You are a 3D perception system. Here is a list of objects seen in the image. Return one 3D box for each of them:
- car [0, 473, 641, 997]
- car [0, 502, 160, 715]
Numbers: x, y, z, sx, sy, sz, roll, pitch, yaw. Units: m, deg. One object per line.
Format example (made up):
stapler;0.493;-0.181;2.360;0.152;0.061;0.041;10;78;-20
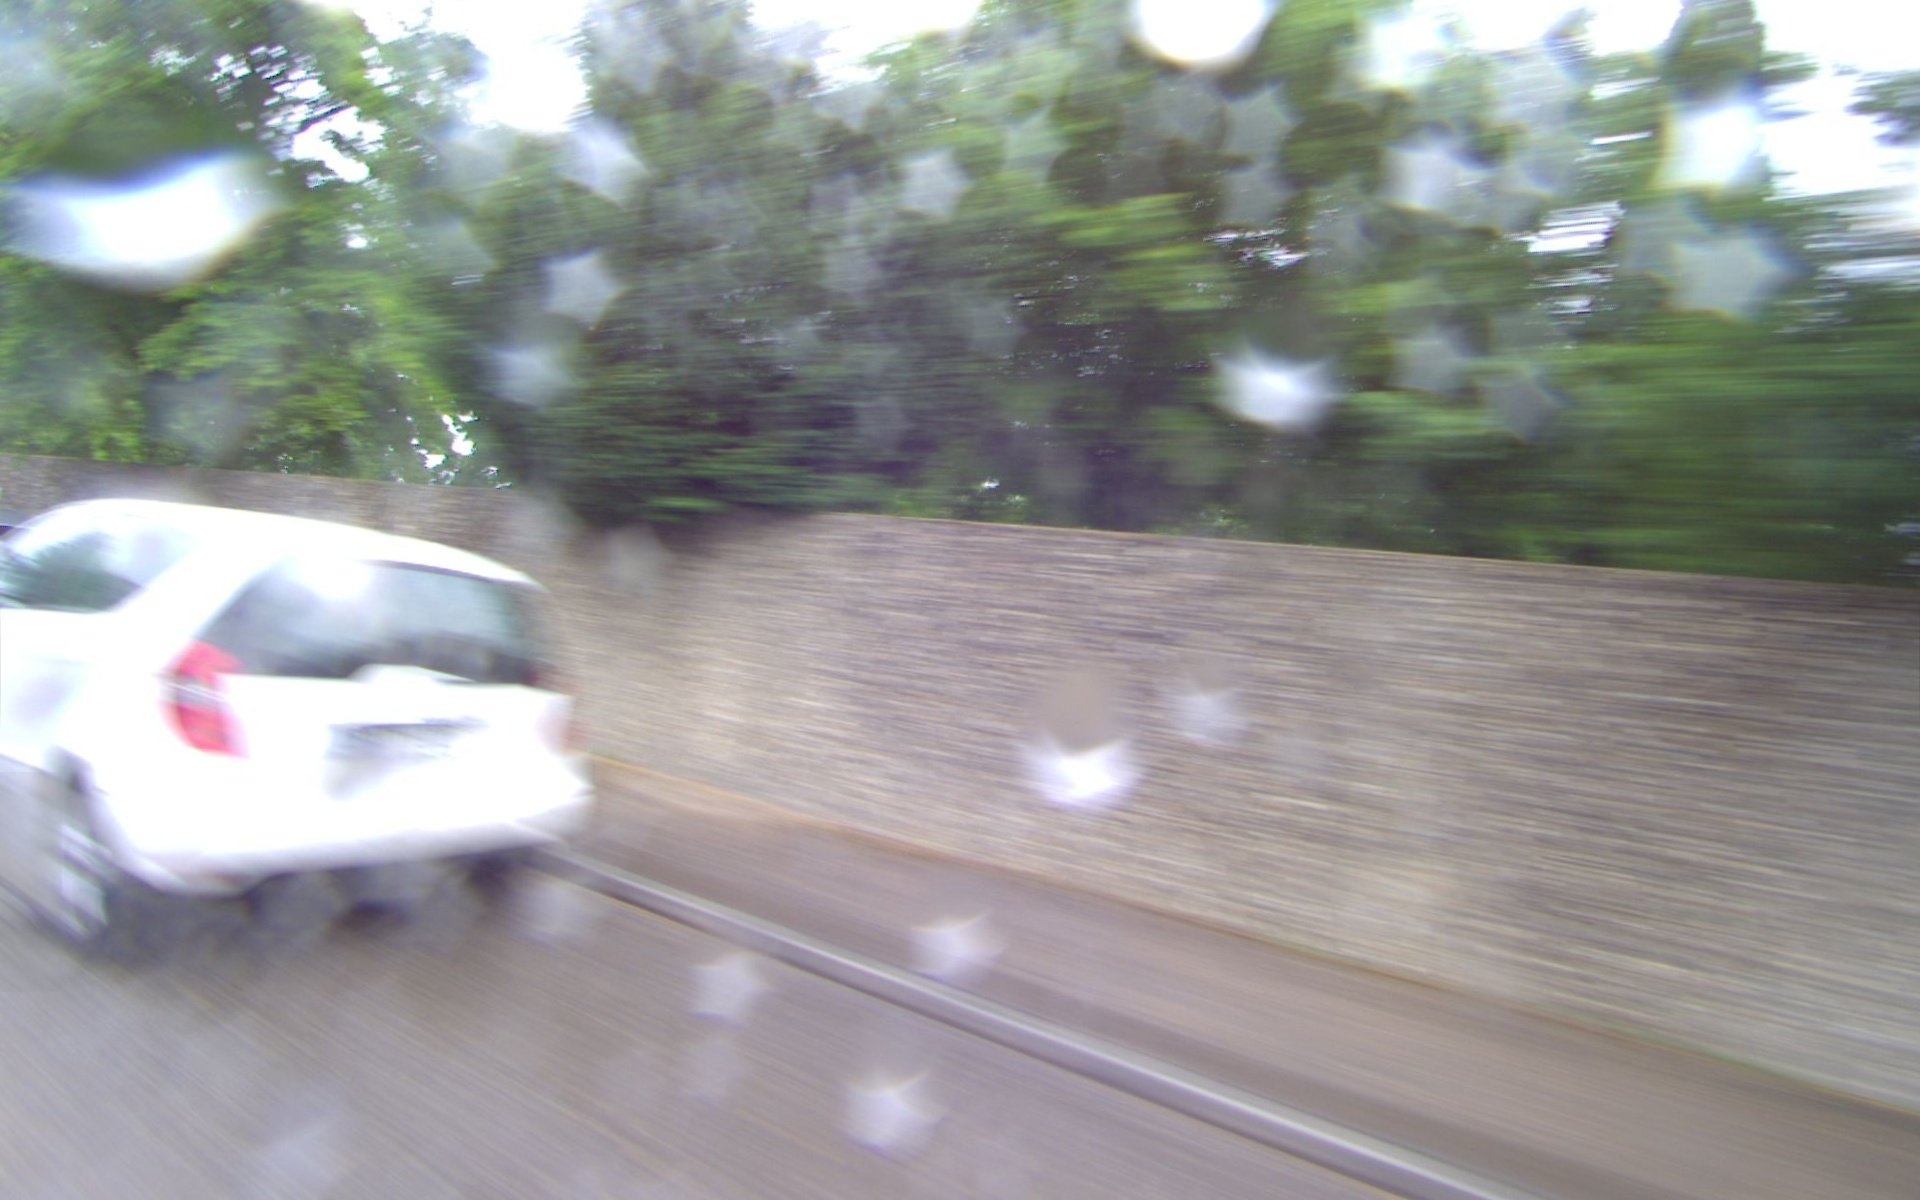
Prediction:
car;-3.636;0.360;4.903;3.817;1.591;1.818;6;-2;33
car;-8.629;-0.149;8.038;4.616;1.463;1.769;6;-2;29
